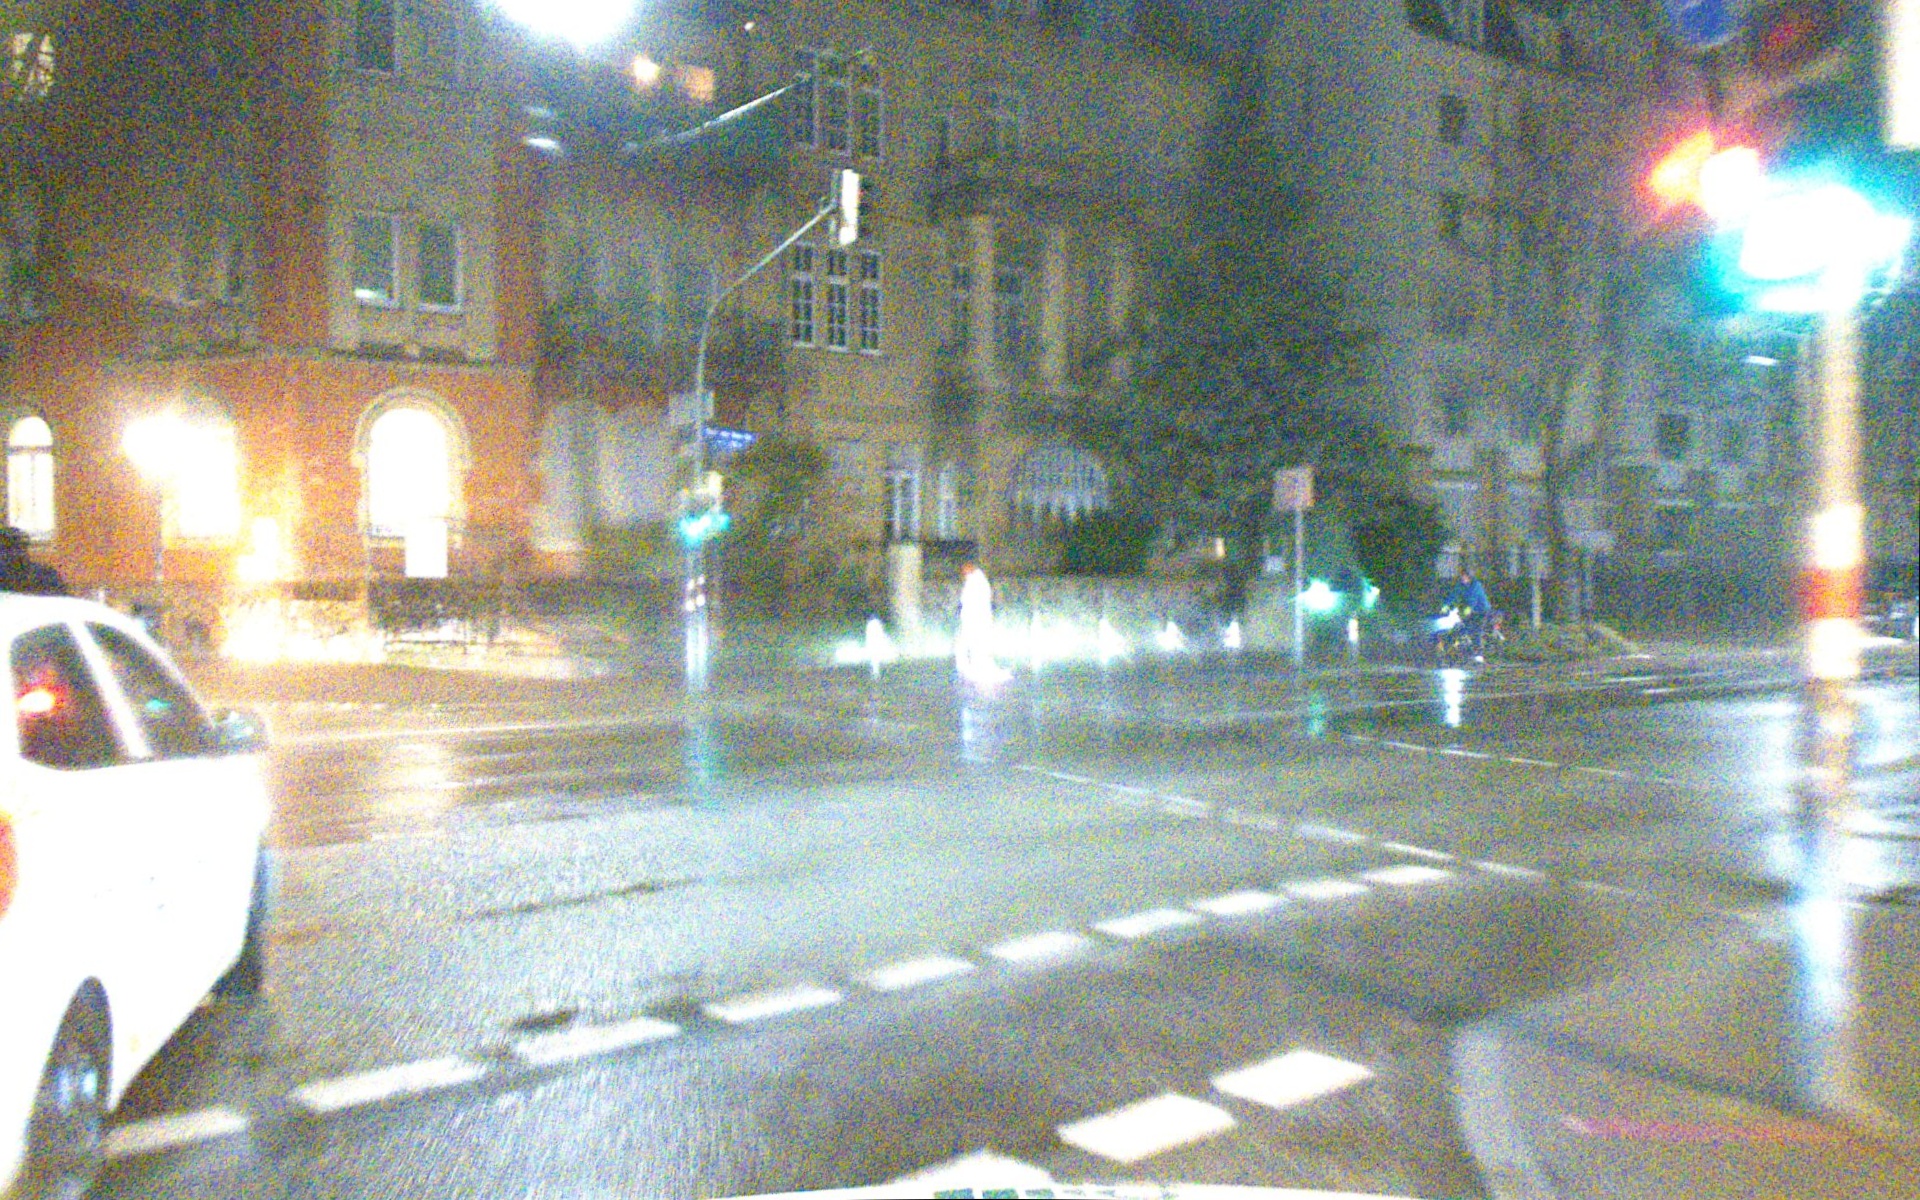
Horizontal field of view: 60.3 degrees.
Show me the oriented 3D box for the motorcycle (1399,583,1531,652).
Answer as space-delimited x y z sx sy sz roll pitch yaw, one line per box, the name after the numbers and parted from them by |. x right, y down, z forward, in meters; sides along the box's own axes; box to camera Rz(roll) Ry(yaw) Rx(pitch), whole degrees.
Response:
9.566 0.333 31.354 2.271 1.252 0.709 -1 -1 -3 | motorcycle

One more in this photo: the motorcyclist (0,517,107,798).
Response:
-5.930 0.345 10.563 0.779 1.724 0.814 1 1 -24 | motorcyclist

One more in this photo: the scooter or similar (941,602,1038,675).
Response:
0.452 0.590 25.625 1.347 1.070 0.637 1 2 -26 | scooter or similar

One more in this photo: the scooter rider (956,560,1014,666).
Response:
0.384 0.190 25.578 0.642 1.600 0.637 1 2 -25 | scooter rider

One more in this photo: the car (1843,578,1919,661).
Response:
25.319 0.444 43.153 5.253 1.857 1.974 -2 5 -37 | car

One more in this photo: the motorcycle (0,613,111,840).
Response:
-5.946 0.738 10.560 0.779 1.234 2.233 1 1 -24 | motorcycle

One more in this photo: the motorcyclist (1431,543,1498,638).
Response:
9.561 -0.169 31.368 1.005 1.761 0.709 -1 -1 -3 | motorcyclist

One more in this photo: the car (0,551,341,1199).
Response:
-2.962 0.636 4.566 1.886 1.542 3.586 0 2 -13 | car
